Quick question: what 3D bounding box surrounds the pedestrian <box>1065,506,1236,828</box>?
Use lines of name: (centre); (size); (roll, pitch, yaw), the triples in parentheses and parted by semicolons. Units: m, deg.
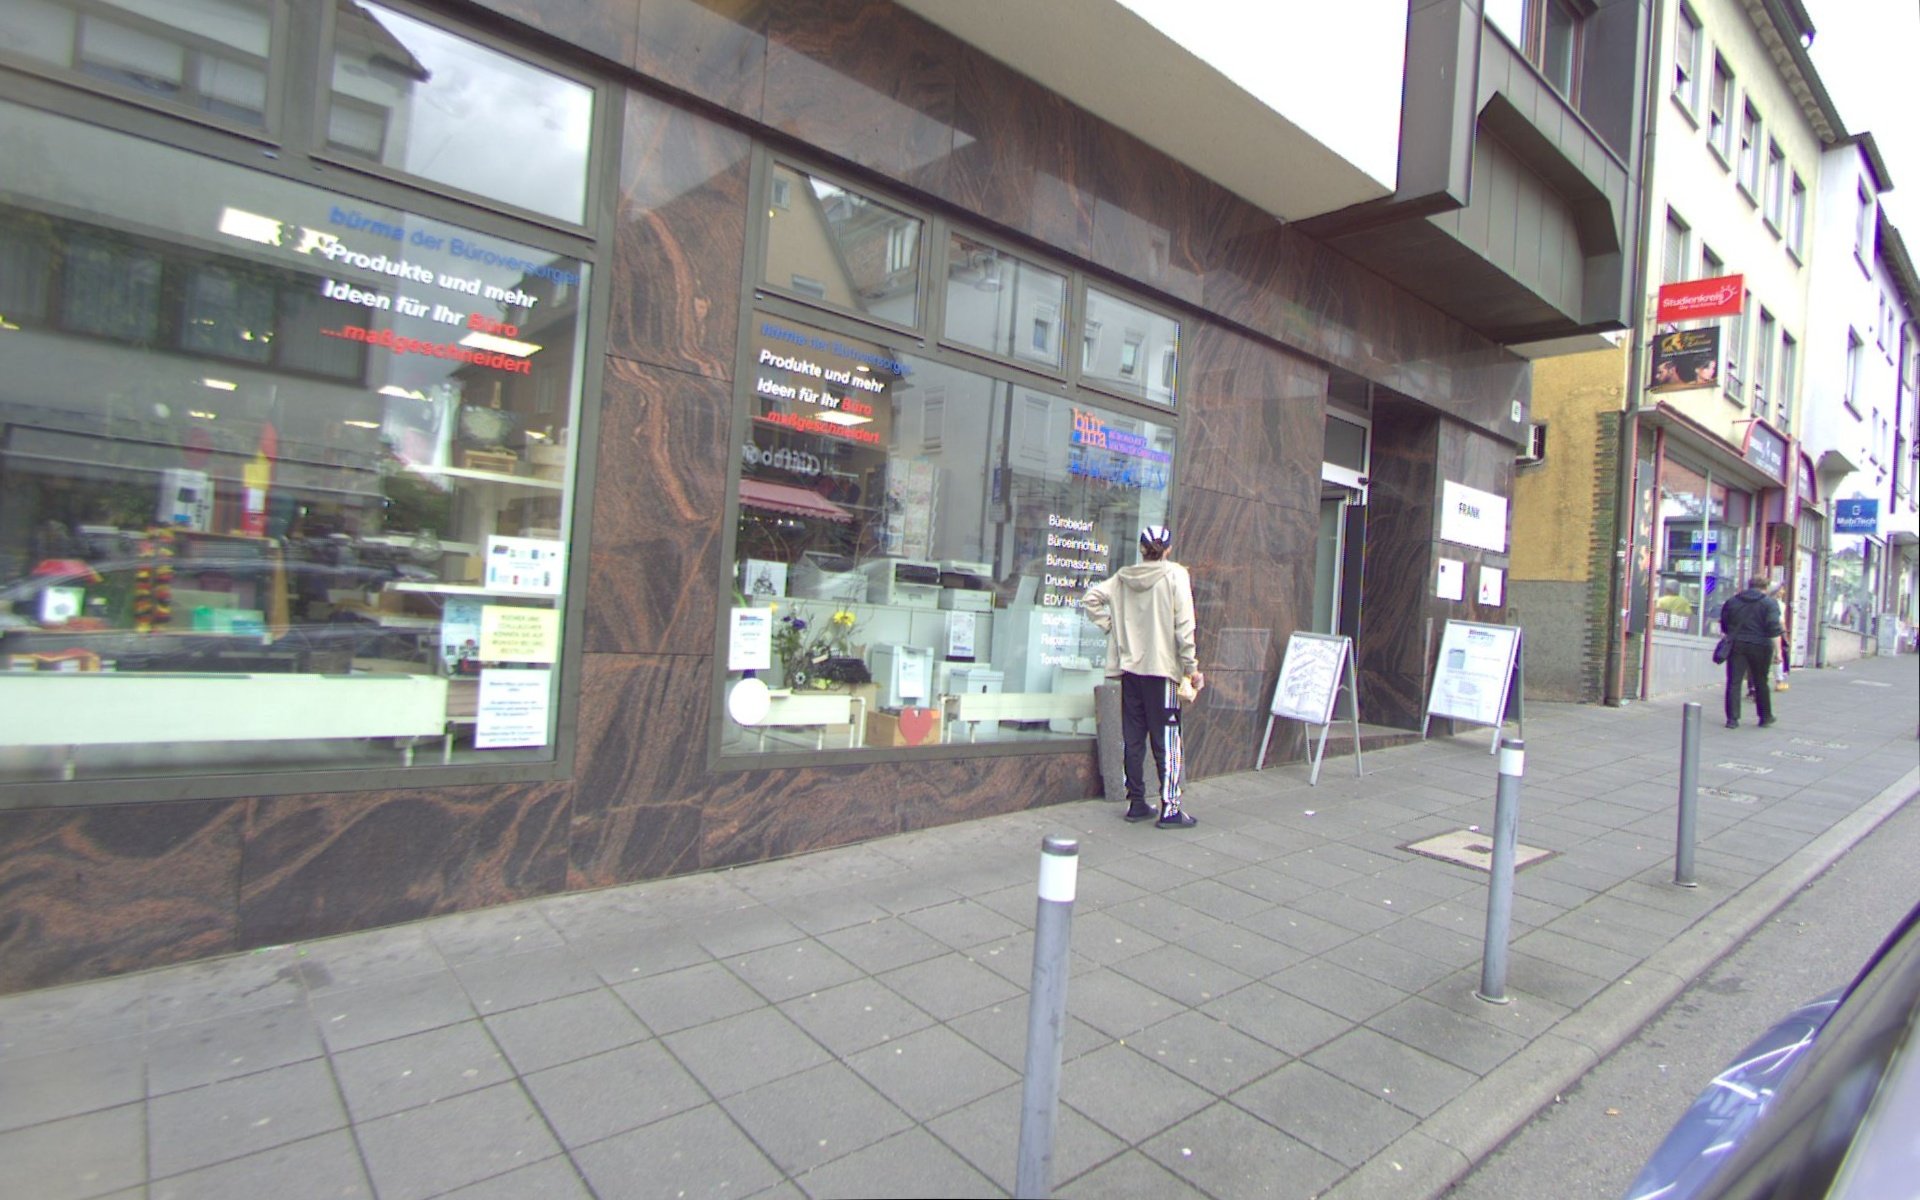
pedestrian: (1.088, 0.342, 5.816); (0.663, 1.709, 0.535); (7, 4, 44)

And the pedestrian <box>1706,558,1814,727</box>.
pedestrian: (8.904, 0.443, 11.264); (0.773, 1.774, 0.713); (1, 3, -40)

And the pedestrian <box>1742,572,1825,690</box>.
pedestrian: (12.184, 0.435, 14.971); (0.820, 1.651, 0.713); (1, 3, -40)

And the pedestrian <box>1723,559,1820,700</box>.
pedestrian: (10.853, 0.376, 13.541); (0.771, 1.773, 0.713); (1, 5, -40)
